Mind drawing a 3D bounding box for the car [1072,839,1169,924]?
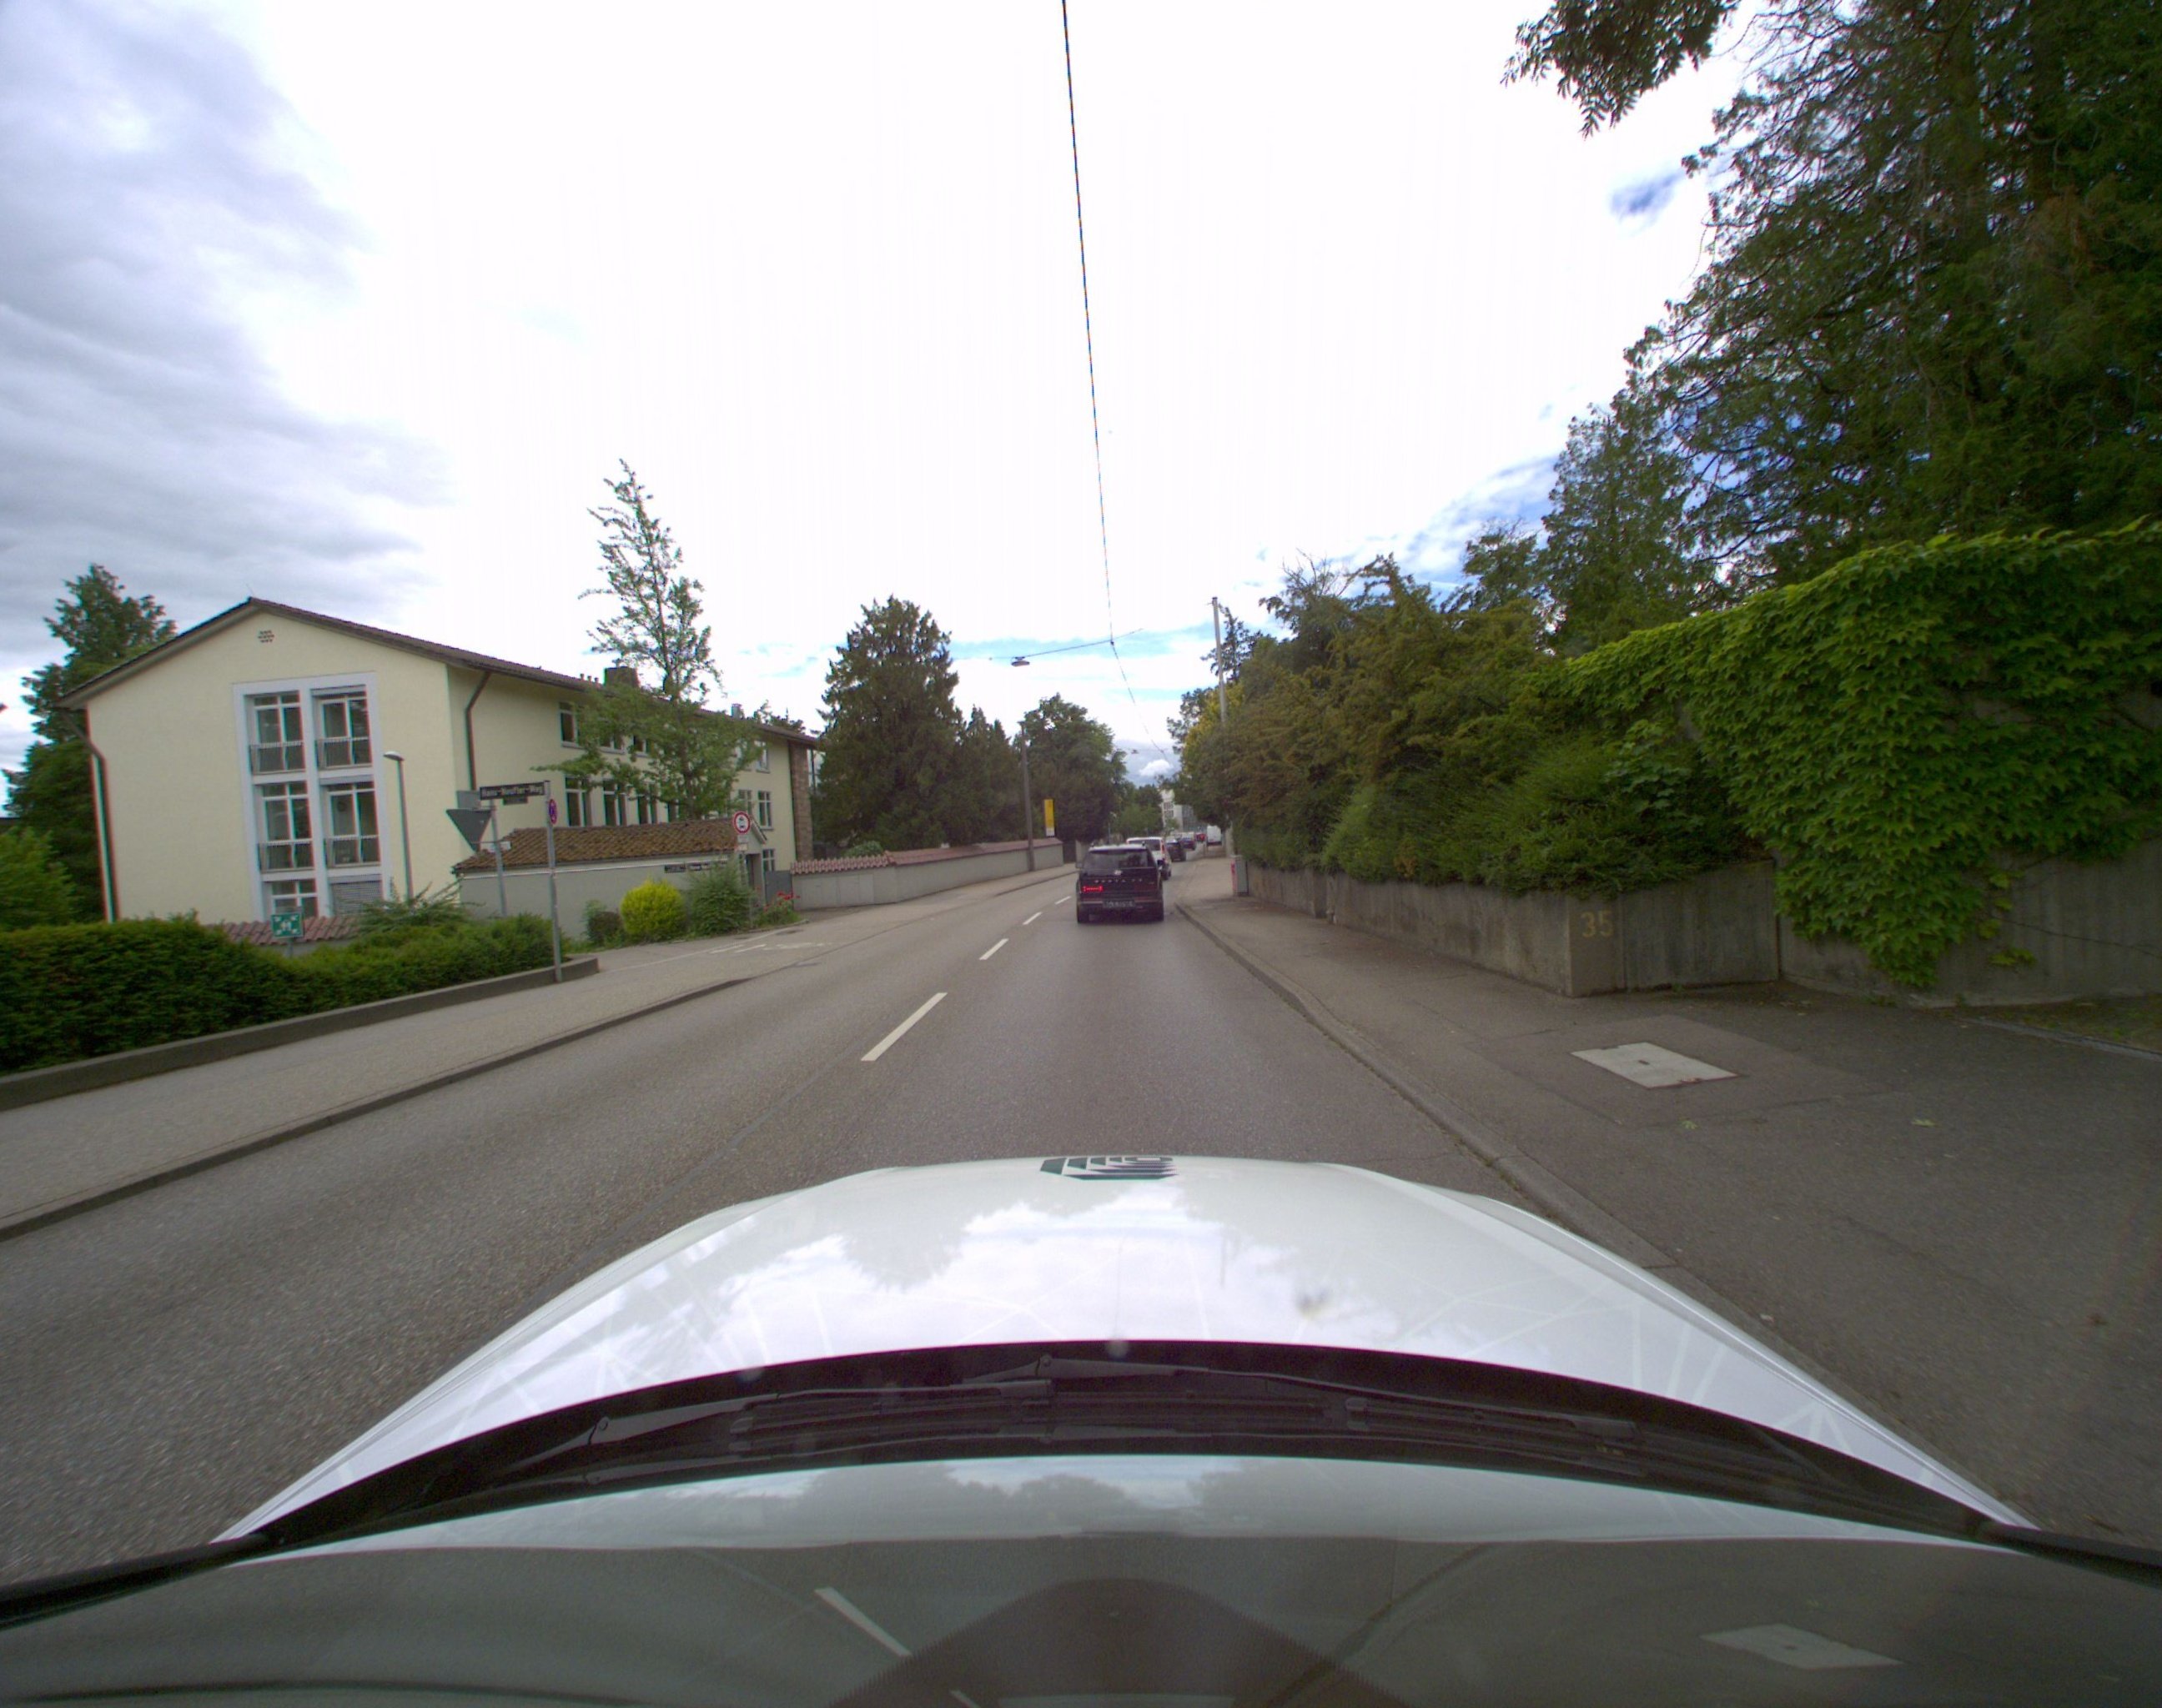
[{"bbox_3d":[0.870,0.548,18.766,1.950,1.713,4.225,-1,0,2],"label":"car"}]

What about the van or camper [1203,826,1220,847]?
[{"bbox_3d":[17.453,-2.423,108.852,2.031,2.577,5.264,-4,1,10],"label":"van or camper"}]

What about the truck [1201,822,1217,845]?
[{"bbox_3d":[20.234,-3.287,128.403,2.267,3.439,5.993,-4,1,10],"label":"truck"}]

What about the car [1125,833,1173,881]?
[{"bbox_3d":[3.084,0.078,36.409,1.946,1.955,4.232,-1,2,7],"label":"car"}]

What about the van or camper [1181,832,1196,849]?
[{"bbox_3d":[13.710,-1.747,104.016,1.665,2.007,3.949,-4,1,10],"label":"van or camper"}]

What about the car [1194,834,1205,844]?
[{"bbox_3d":[20.351,-2.575,139.535,1.665,1.541,3.949,-4,1,10],"label":"car"}]

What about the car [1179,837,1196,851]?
[{"bbox_3d":[11.808,-1.151,90.534,1.666,1.422,3.948,-4,1,9],"label":"car"}]

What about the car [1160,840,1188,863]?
[{"bbox_3d":[6.670,-0.224,58.125,1.666,1.422,3.949,-4,1,9],"label":"car"}]
